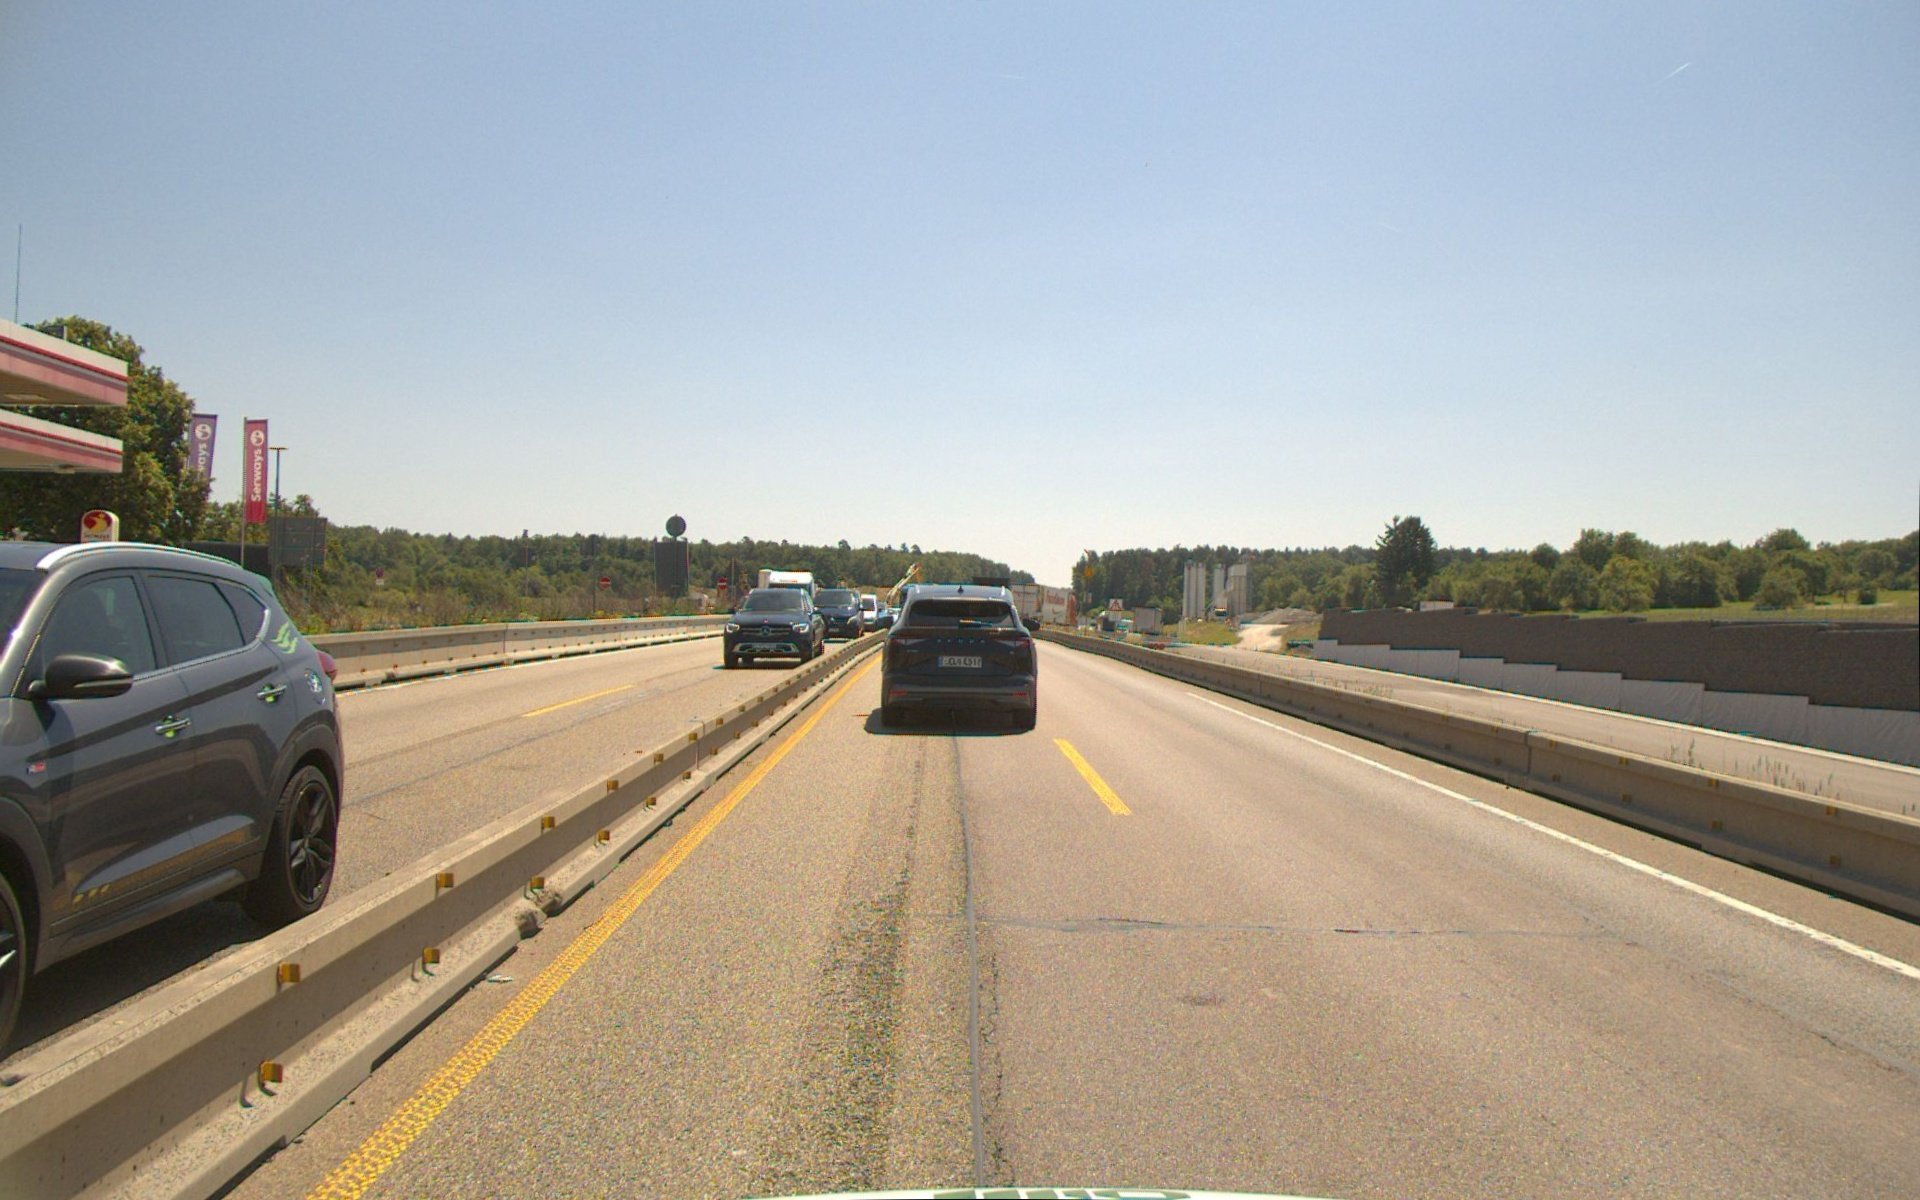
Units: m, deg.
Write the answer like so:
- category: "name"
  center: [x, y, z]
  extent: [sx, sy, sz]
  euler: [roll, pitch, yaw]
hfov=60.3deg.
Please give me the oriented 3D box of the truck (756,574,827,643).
- category: "truck"
  center: [-7.488, 0.375, 74.444]
  extent: [2.429, 2.873, 8.127]
  euler: [1, 0, -1]

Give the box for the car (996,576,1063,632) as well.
- category: "car"
  center: [6.016, 0.398, 141.402]
  extent: [3.365, 4.171, 9.202]
  euler: [5, -1, 16]

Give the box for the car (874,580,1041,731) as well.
- category: "car"
  center: [-0.023, 0.633, 20.000]
  extent: [1.804, 1.609, 3.999]
  euler: [1, -1, 0]

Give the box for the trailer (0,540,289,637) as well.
- category: "trailer"
  center: [-38.584, -0.426, 78.373]
  extent: [3.088, 4.183, 14.150]
  euler: [0, -1, 26]

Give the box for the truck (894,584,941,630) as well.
- category: "truck"
  center: [-3.986, 0.696, 156.040]
  extent: [2.852, 4.201, 6.143]
  euler: [1, -1, 13]

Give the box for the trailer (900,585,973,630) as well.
- category: "trailer"
  center: [-2.162, 0.782, 161.891]
  extent: [2.853, 4.201, 13.922]
  euler: [1, -1, 18]

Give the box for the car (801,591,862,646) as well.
- category: "car"
  center: [-4.595, 0.620, 59.580]
  extent: [1.868, 1.836, 5.081]
  euler: [1, 1, -1]

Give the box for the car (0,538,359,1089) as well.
- category: "car"
  center: [-3.809, 0.608, 5.905]
  extent: [1.899, 1.639, 3.999]
  euler: [1, 0, -1]

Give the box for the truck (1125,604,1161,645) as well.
- category: "truck"
  center: [21.797, 2.918, 196.480]
  extent: [3.404, 4.292, 10.384]
  euler: [7, 0, 8]

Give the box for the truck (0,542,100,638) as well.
- category: "truck"
  center: [-41.483, -0.420, 72.244]
  extent: [3.088, 4.055, 6.341]
  euler: [0, -1, 26]

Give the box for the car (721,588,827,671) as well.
- category: "car"
  center: [-3.954, 0.574, 35.862]
  extent: [1.818, 1.631, 4.734]
  euler: [1, 1, -1]

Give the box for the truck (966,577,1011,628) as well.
- category: "truck"
  center: [1.688, 0.118, 101.243]
  extent: [2.618, 2.997, 5.620]
  euler: [1, 0, 0]

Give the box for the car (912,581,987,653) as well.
- category: "car"
  center: [-0.348, 0.477, 47.408]
  extent: [1.953, 1.876, 3.998]
  euler: [3, -1, -2]
